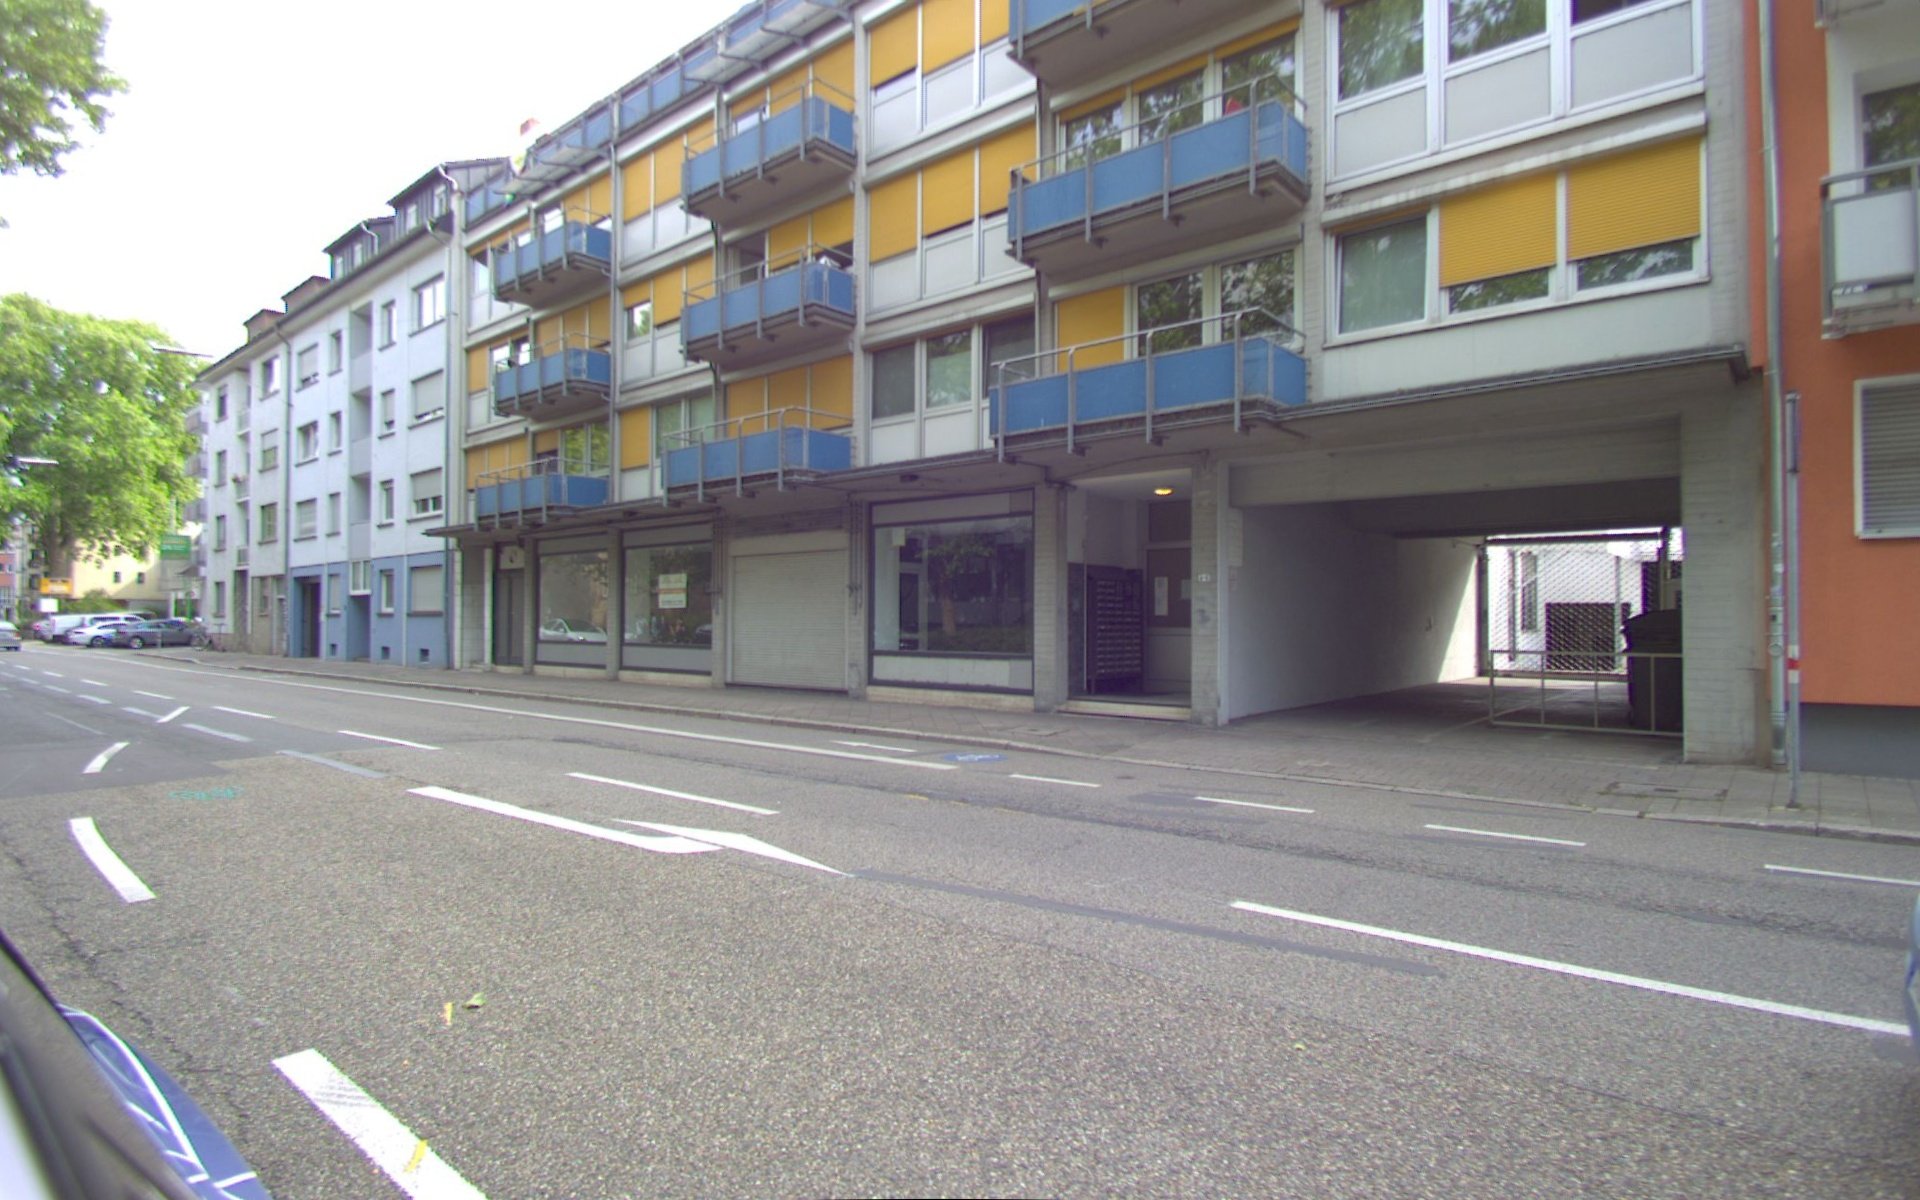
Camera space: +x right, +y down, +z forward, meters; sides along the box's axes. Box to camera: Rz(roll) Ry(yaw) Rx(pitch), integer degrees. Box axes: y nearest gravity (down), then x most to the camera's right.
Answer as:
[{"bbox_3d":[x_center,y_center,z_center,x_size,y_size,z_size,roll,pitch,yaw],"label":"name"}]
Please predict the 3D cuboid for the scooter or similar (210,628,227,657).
[{"bbox_3d":[-31.824,1.801,43.438,1.201,1.231,0.346,-2,-1,41],"label":"scooter or similar"}]

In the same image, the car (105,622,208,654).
[{"bbox_3d":[-43.533,2.038,54.867,1.836,1.525,4.107,-2,0,41],"label":"car"}]

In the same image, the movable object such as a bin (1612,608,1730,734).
[{"bbox_3d":[8.847,0.846,12.590,1.052,1.475,1.177,-1,-2,42],"label":"movable object such as a bin"}]

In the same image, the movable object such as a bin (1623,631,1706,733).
[{"bbox_3d":[8.243,0.935,11.841,0.709,1.134,0.635,-2,-2,42],"label":"movable object such as a bin"}]

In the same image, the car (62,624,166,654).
[{"bbox_3d":[-47.626,2.165,57.030,1.873,1.462,4.226,-2,0,41],"label":"car"}]

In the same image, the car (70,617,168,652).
[{"bbox_3d":[-49.313,2.000,59.370,1.923,1.862,4.167,-2,0,41],"label":"car"}]

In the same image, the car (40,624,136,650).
[{"bbox_3d":[-57.909,2.414,67.262,1.873,1.481,4.655,-2,0,42],"label":"car"}]

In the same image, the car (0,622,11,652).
[{"bbox_3d":[-48.164,1.776,49.725,4.096,1.438,1.739,-1,-3,40],"label":"car"}]

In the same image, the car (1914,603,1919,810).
[{"bbox_3d":[4.187,0.658,1.241,4.250,1.431,1.695,-1,-4,40],"label":"car"}]

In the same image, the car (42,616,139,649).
[{"bbox_3d":[-56.205,2.102,65.476,1.949,1.873,4.567,-2,0,42],"label":"car"}]

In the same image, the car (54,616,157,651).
[{"bbox_3d":[-54.123,2.098,64.156,1.993,1.949,4.716,-2,0,42],"label":"car"}]

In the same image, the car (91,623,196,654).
[{"bbox_3d":[-45.378,2.110,56.296,1.910,1.462,4.255,-2,0,41],"label":"car"}]

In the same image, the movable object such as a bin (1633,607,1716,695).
[{"bbox_3d":[12.509,0.872,17.714,1.052,1.475,1.177,-1,-2,42],"label":"movable object such as a bin"}]

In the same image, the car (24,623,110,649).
[{"bbox_3d":[-64.576,2.595,73.206,1.753,1.618,4.470,-2,0,42],"label":"car"}]

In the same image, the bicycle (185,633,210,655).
[{"bbox_3d":[-33.968,1.965,45.088,1.662,0.957,0.591,-1,-1,41],"label":"bicycle"}]

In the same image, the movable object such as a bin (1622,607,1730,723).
[{"bbox_3d":[9.762,0.852,13.788,1.052,1.475,1.177,-1,-2,42],"label":"movable object such as a bin"}]
